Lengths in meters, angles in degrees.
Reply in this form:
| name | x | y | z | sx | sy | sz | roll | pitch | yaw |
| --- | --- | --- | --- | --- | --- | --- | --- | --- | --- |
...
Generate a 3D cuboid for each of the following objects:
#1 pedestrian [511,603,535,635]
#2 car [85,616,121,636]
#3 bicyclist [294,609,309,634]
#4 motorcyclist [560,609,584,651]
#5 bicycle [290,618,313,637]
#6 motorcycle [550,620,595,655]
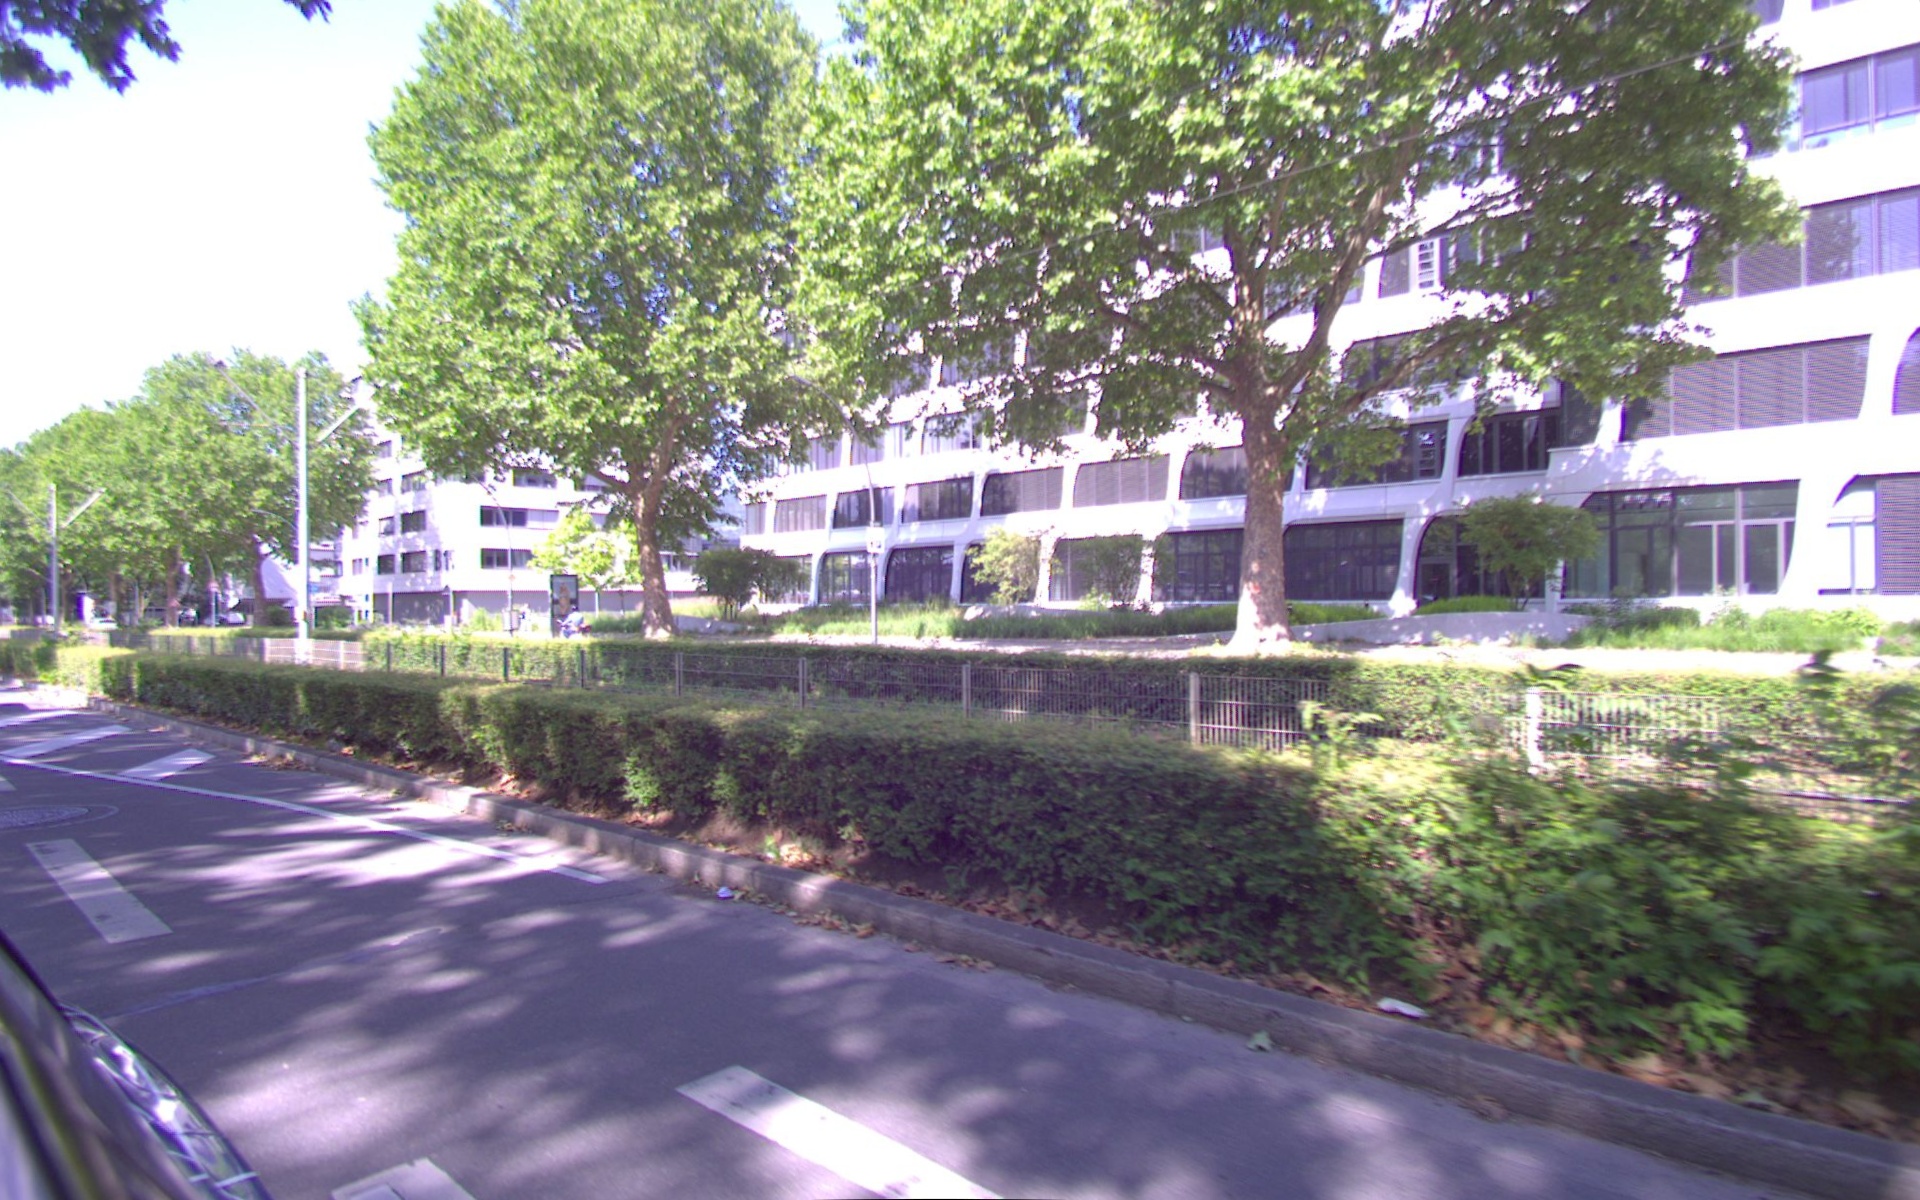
| name | x | y | z | sx | sy | sz | roll | pitch | yaw |
| --- | --- | --- | --- | --- | --- | --- | --- | --- | --- |
| pedestrian | -22.171 | 0.957 | 51.318 | 1.014 | 1.600 | 0.712 | -1 | 0 | 42 |
| car | -72.454 | 2.212 | 85.569 | 4.017 | 1.581 | 1.738 | -1 | 0 | 42 |
| bicyclist | -41.438 | 1.339 | 63.716 | 0.641 | 1.546 | 0.647 | -2 | 0 | 42 |
| motorcyclist | -13.676 | 1.042 | 35.672 | 0.533 | 1.468 | 0.575 | -1 | -1 | 41 |
| bicycle | -41.498 | 1.728 | 63.766 | 2.030 | 1.132 | 0.657 | -1 | 0 | 42 |
| motorcycle | -13.684 | 1.326 | 35.709 | 1.999 | 1.183 | 0.626 | -1 | -1 | 42 |
